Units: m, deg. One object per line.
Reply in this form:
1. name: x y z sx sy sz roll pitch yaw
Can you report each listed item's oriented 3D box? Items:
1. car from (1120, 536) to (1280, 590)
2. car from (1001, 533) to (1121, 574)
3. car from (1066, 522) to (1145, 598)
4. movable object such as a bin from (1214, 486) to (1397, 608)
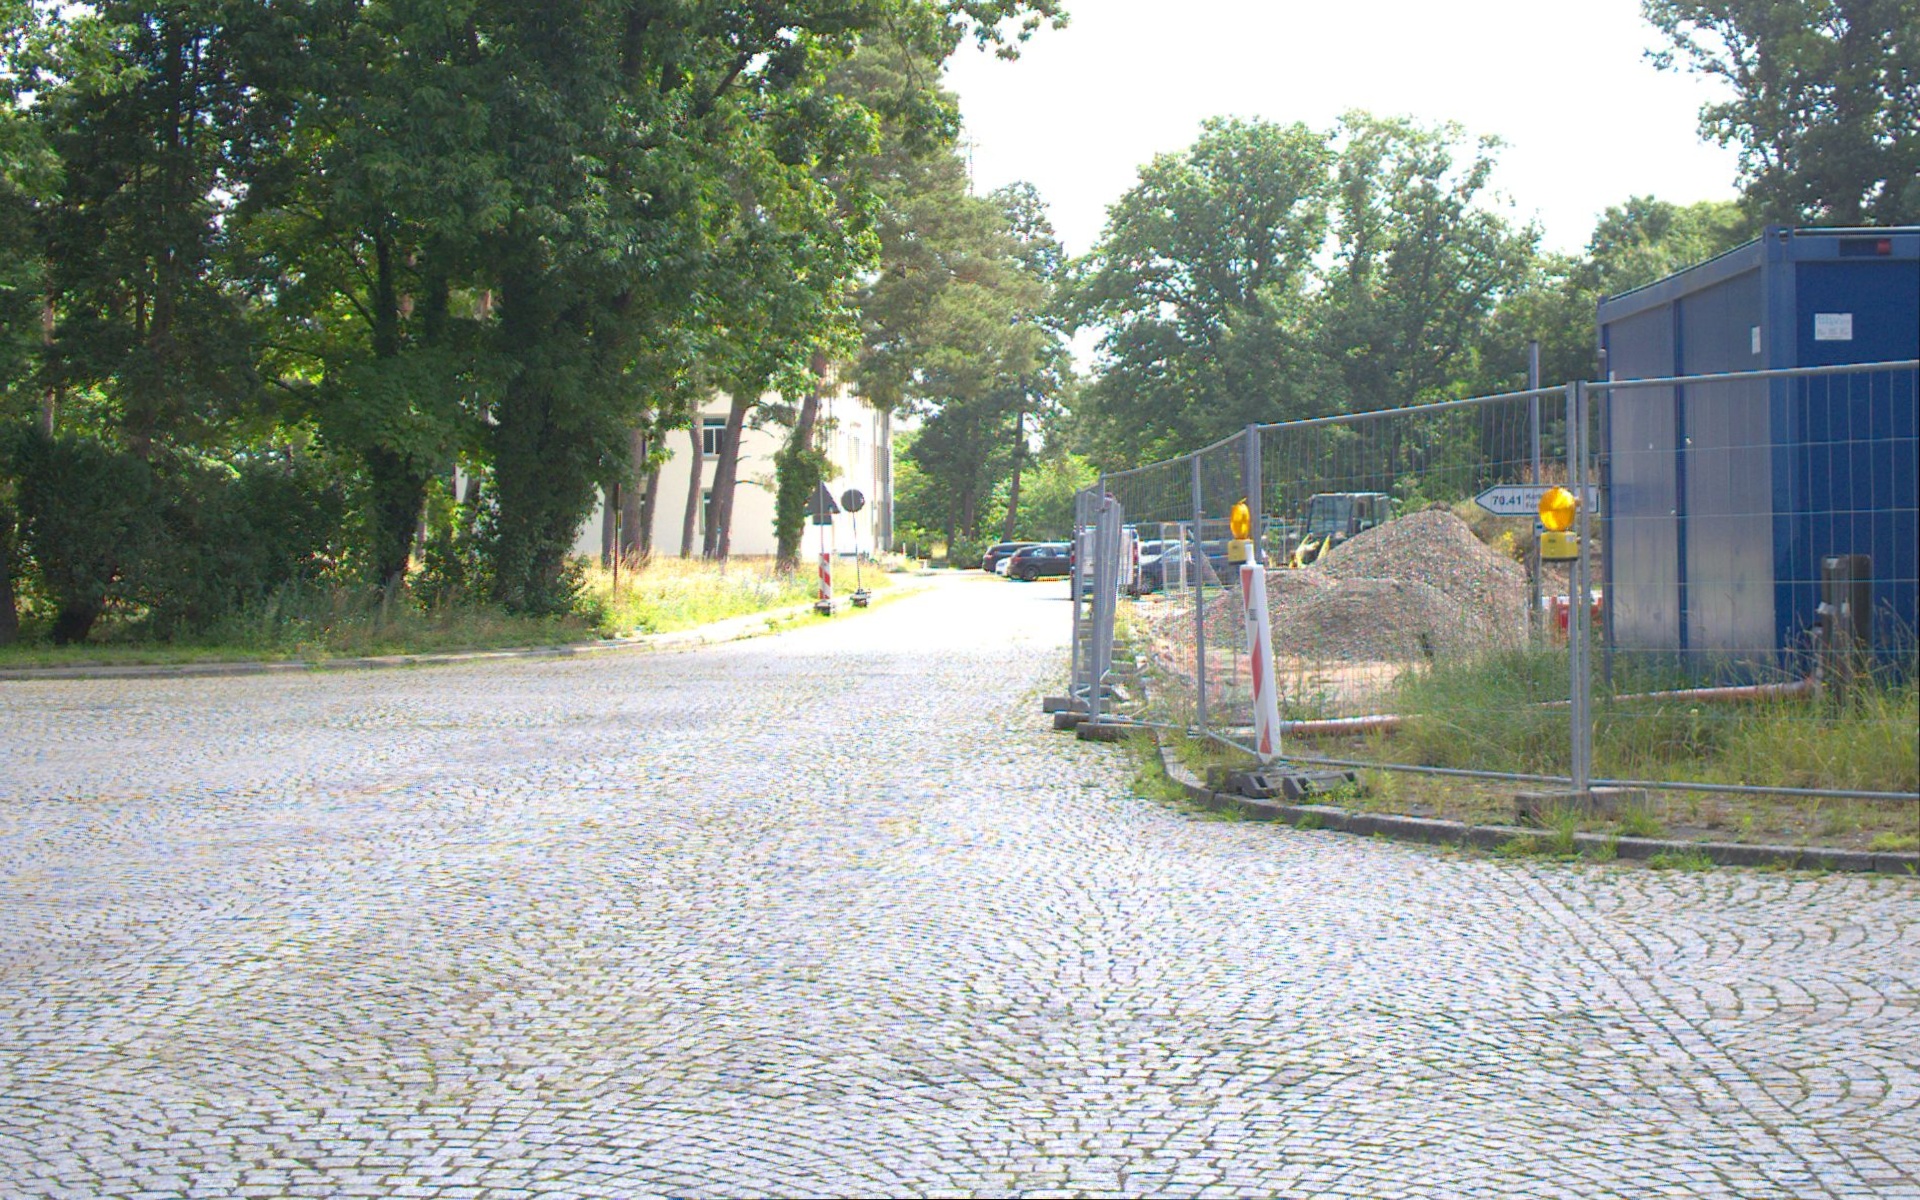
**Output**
1. car: 6.918 -1.067 98.973 4.404 1.505 1.999 1 1 10
2. car: 4.138 -1.912 141.359 4.779 1.635 2.000 0 1 -3
3. car: 3.919 -1.093 93.029 1.993 2.007 4.091 0 1 1
4. movable object such as a bin: 7.627 -1.157 75.475 2.132 2.584 4.783 0 1 31
